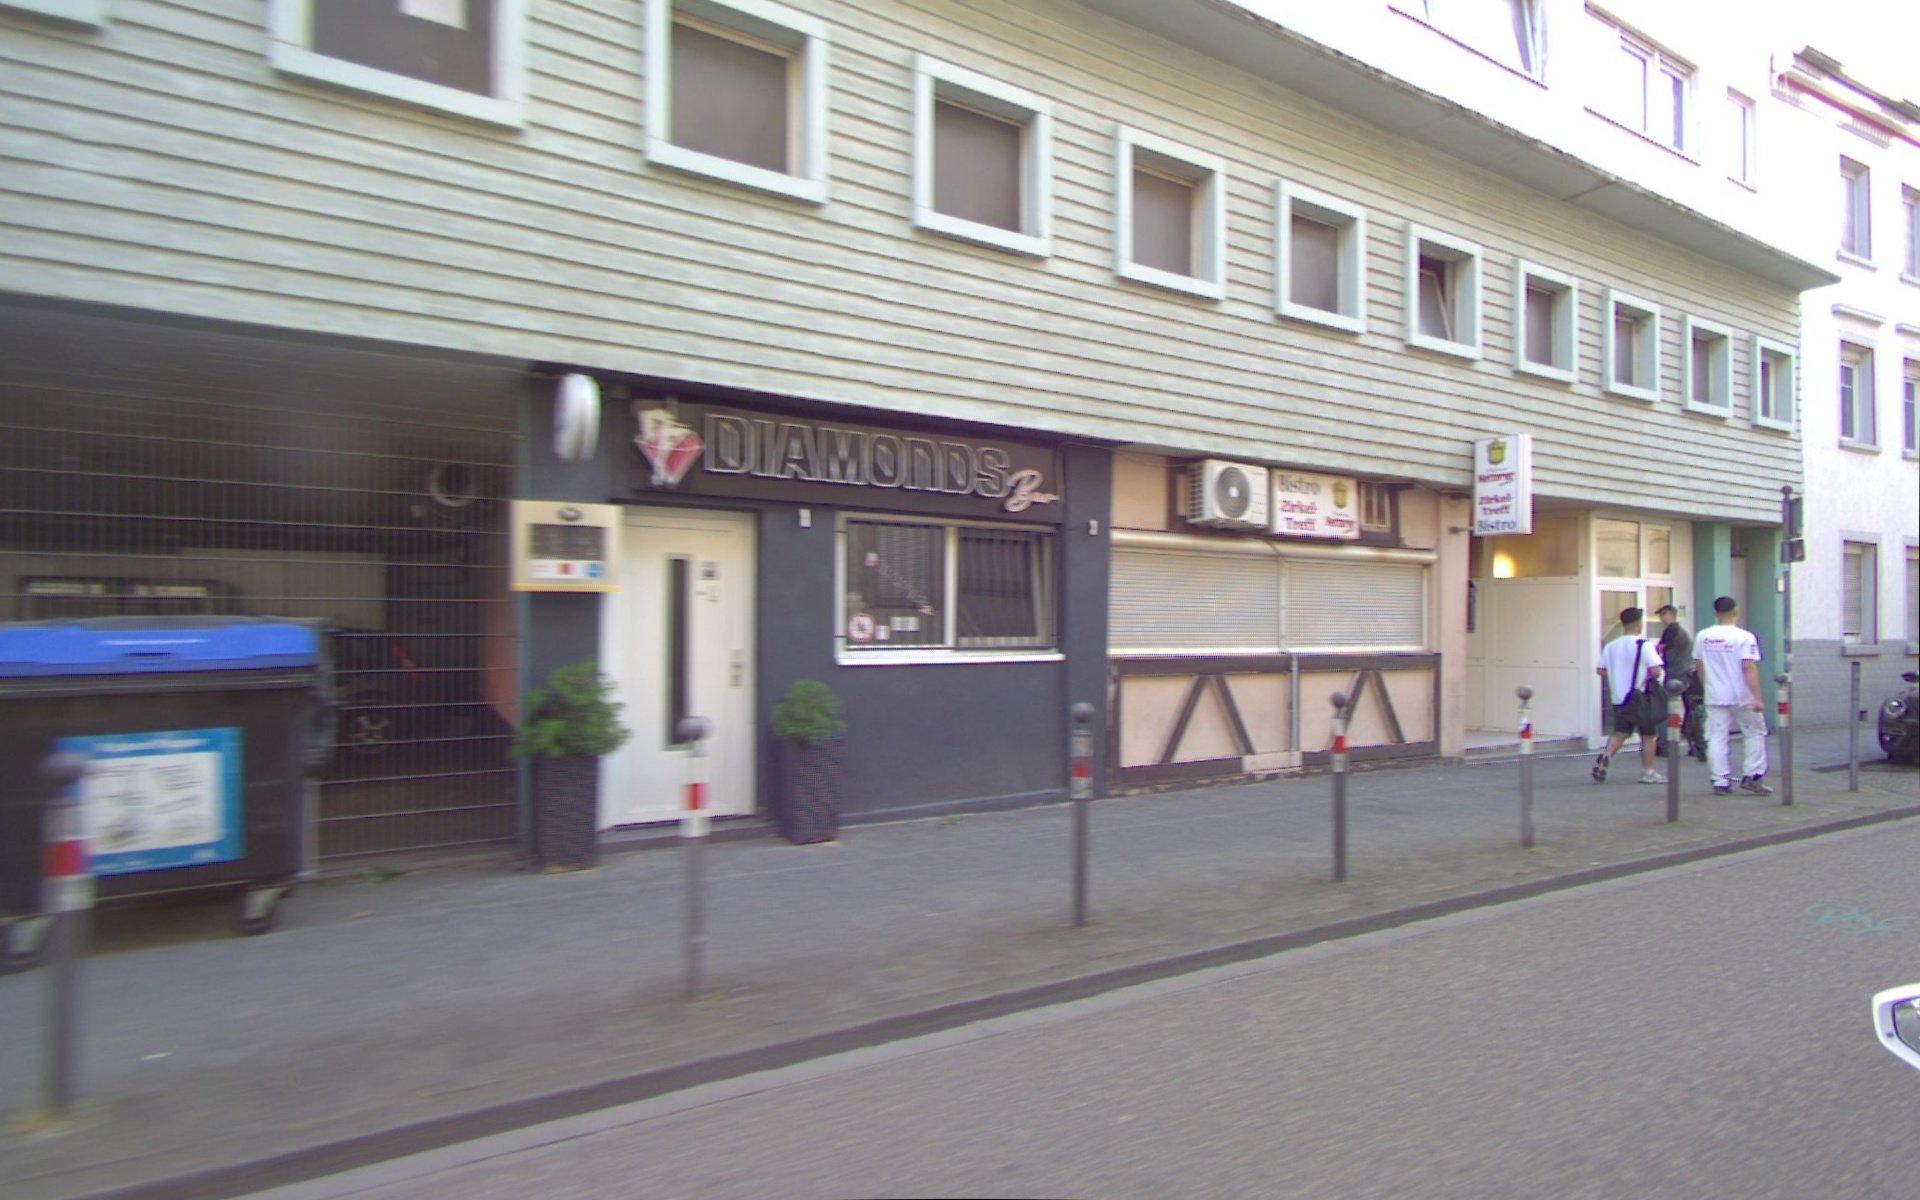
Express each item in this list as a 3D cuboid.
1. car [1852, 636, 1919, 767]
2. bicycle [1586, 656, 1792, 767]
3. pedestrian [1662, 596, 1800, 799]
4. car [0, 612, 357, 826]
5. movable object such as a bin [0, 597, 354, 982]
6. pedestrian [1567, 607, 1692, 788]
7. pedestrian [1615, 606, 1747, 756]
[{"bbox_3d":[12.957,1.193,12.292,4.028,1.505,1.811,1,-4,-30],"label":"car"},{"bbox_3d":[8.797,1.305,12.262,0.808,1.178,2.134,0,-2,-6],"label":"bicycle"},{"bbox_3d":[7.070,0.869,9.222,0.819,1.757,0.695,1,-3,-29],"label":"pedestrian"},{"bbox_3d":[-7.487,0.872,8.006,4.548,1.555,1.753,1,-1,-31],"label":"car"},{"bbox_3d":[-3.670,0.771,4.786,1.326,1.540,1.117,0,-1,-31],"label":"movable object such as a bin"},{"bbox_3d":[6.591,0.929,9.895,0.884,1.691,0.670,1,-2,-29],"label":"pedestrian"},{"bbox_3d":[8.796,0.960,12.302,0.787,1.751,1.080,0,-1,-6],"label":"pedestrian"}]
